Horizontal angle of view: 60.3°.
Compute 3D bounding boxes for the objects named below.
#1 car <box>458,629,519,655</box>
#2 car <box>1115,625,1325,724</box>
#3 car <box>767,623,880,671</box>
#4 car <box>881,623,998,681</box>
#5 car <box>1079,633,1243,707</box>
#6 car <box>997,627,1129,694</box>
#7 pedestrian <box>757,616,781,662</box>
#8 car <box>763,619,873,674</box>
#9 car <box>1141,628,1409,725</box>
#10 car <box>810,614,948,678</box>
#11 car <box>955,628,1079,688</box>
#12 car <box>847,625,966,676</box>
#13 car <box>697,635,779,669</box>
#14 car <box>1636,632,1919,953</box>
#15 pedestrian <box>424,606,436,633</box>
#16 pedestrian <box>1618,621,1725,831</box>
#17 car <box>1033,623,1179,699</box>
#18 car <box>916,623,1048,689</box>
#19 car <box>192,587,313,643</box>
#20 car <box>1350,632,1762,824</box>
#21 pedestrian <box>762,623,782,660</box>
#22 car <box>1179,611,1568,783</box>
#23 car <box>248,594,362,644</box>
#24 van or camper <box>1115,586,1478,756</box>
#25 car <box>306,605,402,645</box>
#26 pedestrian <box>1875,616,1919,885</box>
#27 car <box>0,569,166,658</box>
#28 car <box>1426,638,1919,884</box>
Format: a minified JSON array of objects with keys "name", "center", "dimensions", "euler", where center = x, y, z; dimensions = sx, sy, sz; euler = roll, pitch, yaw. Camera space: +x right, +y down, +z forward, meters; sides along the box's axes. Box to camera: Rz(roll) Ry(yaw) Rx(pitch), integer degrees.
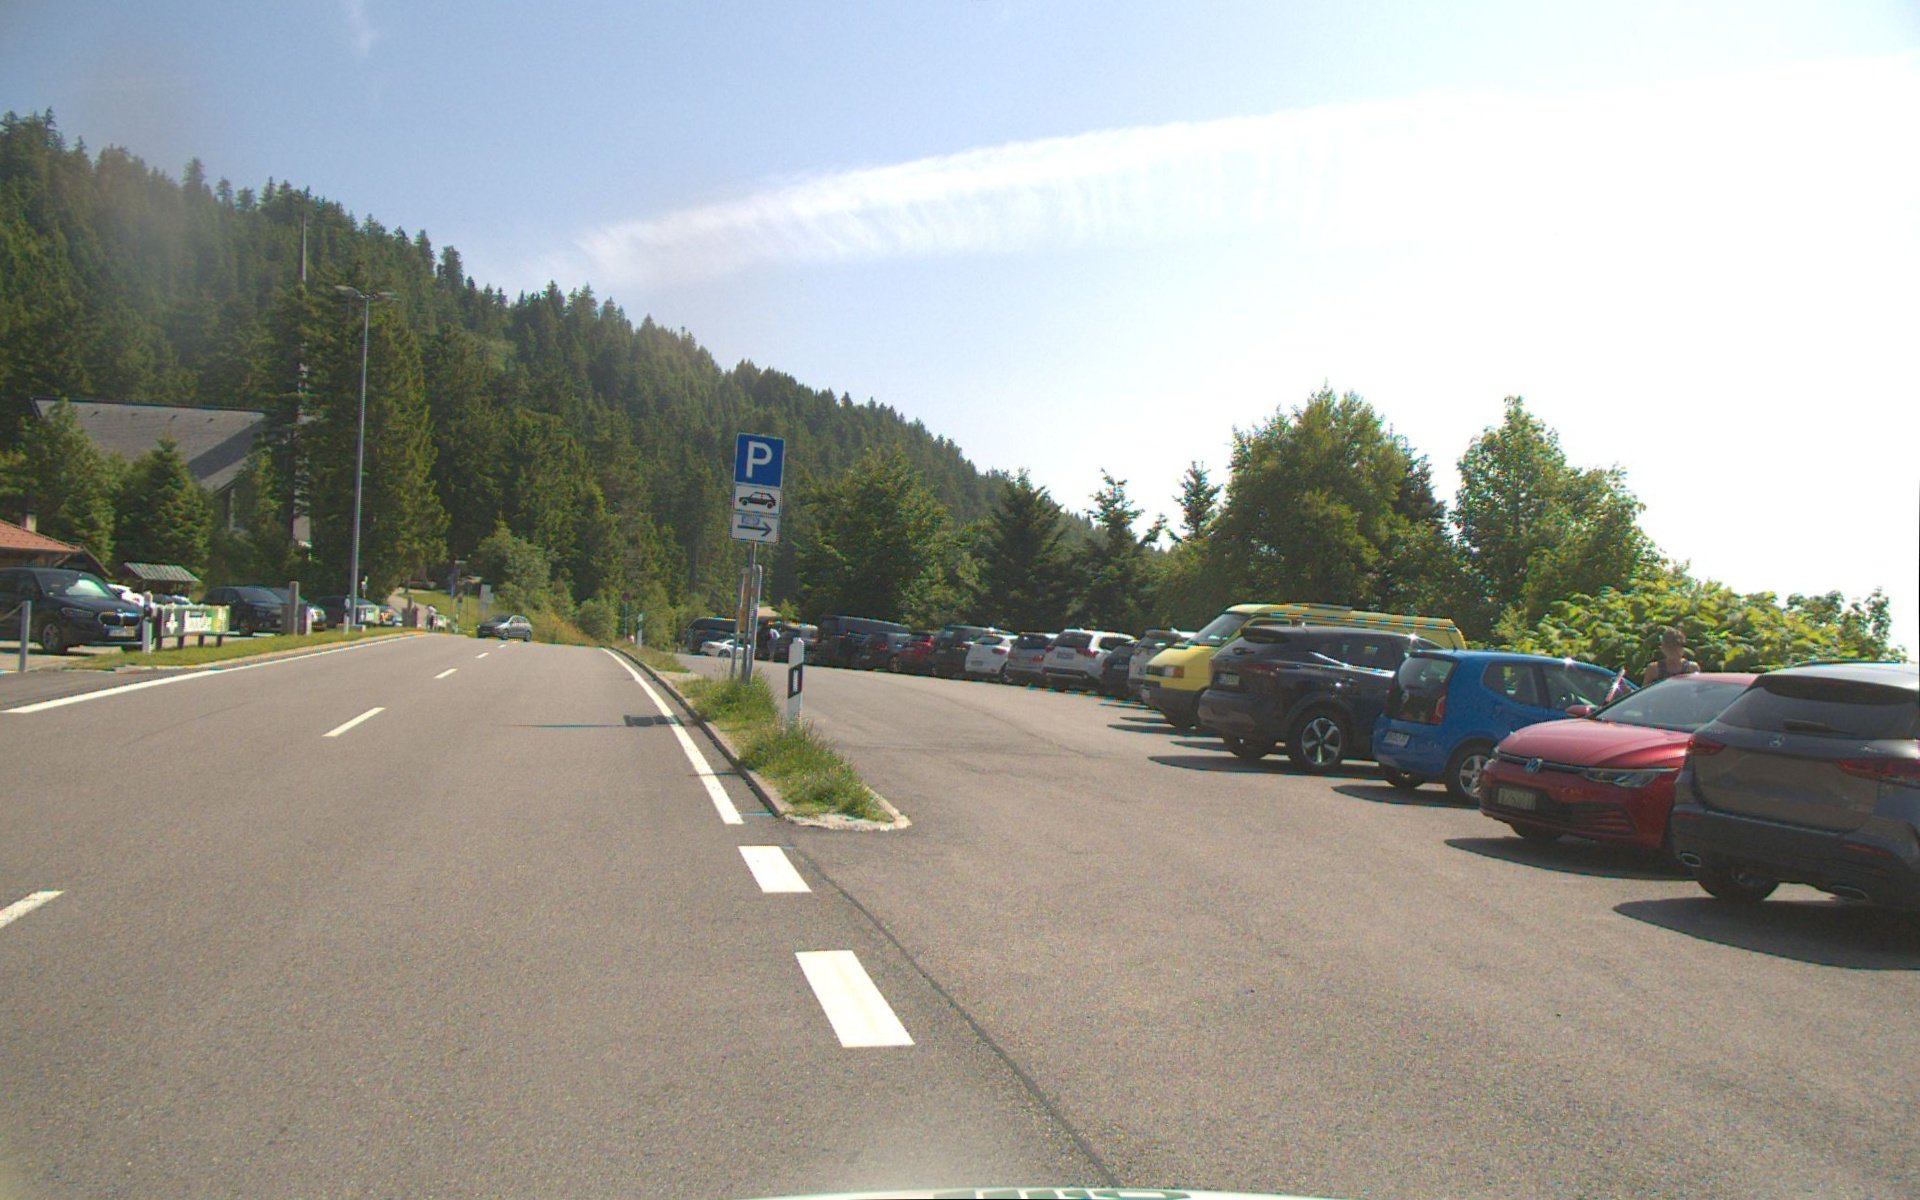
[{"name":"car","center":[-28.627,2.548,100.495],"dimensions":[1.551,1.454,3.364],"euler":[2,0,31]},{"name":"car","center":[5.542,1.583,35.070],"dimensions":[4.133,1.678,1.871],"euler":[7,-3,-33]},{"name":"car","center":[-5.340,1.855,64.792],"dimensions":[3.952,1.468,1.818],"euler":[7,-3,-34]},{"name":"car","center":[-0.672,1.813,56.926],"dimensions":[1.829,1.617,3.979],"euler":[3,-3,39]},{"name":"car","center":[5.124,1.784,41.825],"dimensions":[4.016,1.486,1.867],"euler":[8,-3,-42]},{"name":"car","center":[3.066,1.797,48.508],"dimensions":[1.787,1.576,3.979],"euler":[3,-3,39]},{"name":"pedestrian","center":[-7.856,1.614,67.981],"dimensions":[0.567,1.791,0.633],"euler":[4,-4,18]},{"name":"car","center":[-5.781,1.902,67.634],"dimensions":[3.963,1.690,1.971],"euler":[11,-6,-40]},{"name":"car","center":[5.554,1.348,29.269],"dimensions":[4.279,1.513,1.805],"euler":[2,0,-16]},{"name":"car","center":[-3.002,1.725,61.824],"dimensions":[4.712,1.912,1.945],"euler":[7,-3,-32]},{"name":"car","center":[1.813,1.815,51.533],"dimensions":[1.735,1.501,3.979],"euler":[3,-3,39]},{"name":"car","center":[-1.885,1.814,59.147],"dimensions":[3.963,1.439,1.719],"euler":[8,-3,-40]},{"name":"car","center":[-12.847,3.008,95.799],"dimensions":[4.406,1.321,1.567],"euler":[9,-4,-29]},{"name":"car","center":[6.622,1.202,10.354],"dimensions":[4.339,1.595,1.894],"euler":[5,-1,-24]},{"name":"pedestrian","center":[-33.850,1.241,105.553],"dimensions":[0.643,1.696,0.639],"euler":[3,-3,-19]},{"name":"pedestrian","center":[6.186,1.086,14.390],"dimensions":[0.497,1.754,0.563],"euler":[6,-2,-25]},{"name":"car","center":[4.036,1.686,45.210],"dimensions":[1.829,1.724,4.205],"euler":[3,-2,39]},{"name":"car","center":[0.755,1.835,53.424],"dimensions":[1.954,1.724,4.251],"euler":[3,-3,39]},{"name":"car","center":[-22.017,0.463,51.431],"dimensions":[3.924,1.579,1.775],"euler":[2,-1,39]},{"name":"car","center":[5.994,1.272,16.780],"dimensions":[3.519,1.521,1.643],"euler":[6,-1,-12]},{"name":"pedestrian","center":[-7.493,1.651,65.877],"dimensions":[0.759,1.427,0.668],"euler":[2,0,-7]},{"name":"car","center":[4.782,1.113,19.238],"dimensions":[3.926,1.641,1.907],"euler":[5,-1,-18]},{"name":"car","center":[-23.251,0.664,58.679],"dimensions":[3.975,1.595,1.735],"euler":[2,-2,33]},{"name":"van or camper","center":[5.127,1.072,25.414],"dimensions":[5.000,2.048,1.877],"euler":[6,-1,-11]},{"name":"car","center":[-27.974,1.158,76.354],"dimensions":[4.116,1.662,1.787],"euler":[2,-3,27]},{"name":"pedestrian","center":[7.210,1.103,12.016],"dimensions":[0.597,1.933,0.678],"euler":[5,-2,-6]},{"name":"car","center":[-17.385,0.237,32.071],"dimensions":[4.108,1.567,1.801],"euler":[2,0,36]},{"name":"car","center":[5.856,1.254,12.883],"dimensions":[3.932,1.536,1.830],"euler":[5,-1,-22]}]
